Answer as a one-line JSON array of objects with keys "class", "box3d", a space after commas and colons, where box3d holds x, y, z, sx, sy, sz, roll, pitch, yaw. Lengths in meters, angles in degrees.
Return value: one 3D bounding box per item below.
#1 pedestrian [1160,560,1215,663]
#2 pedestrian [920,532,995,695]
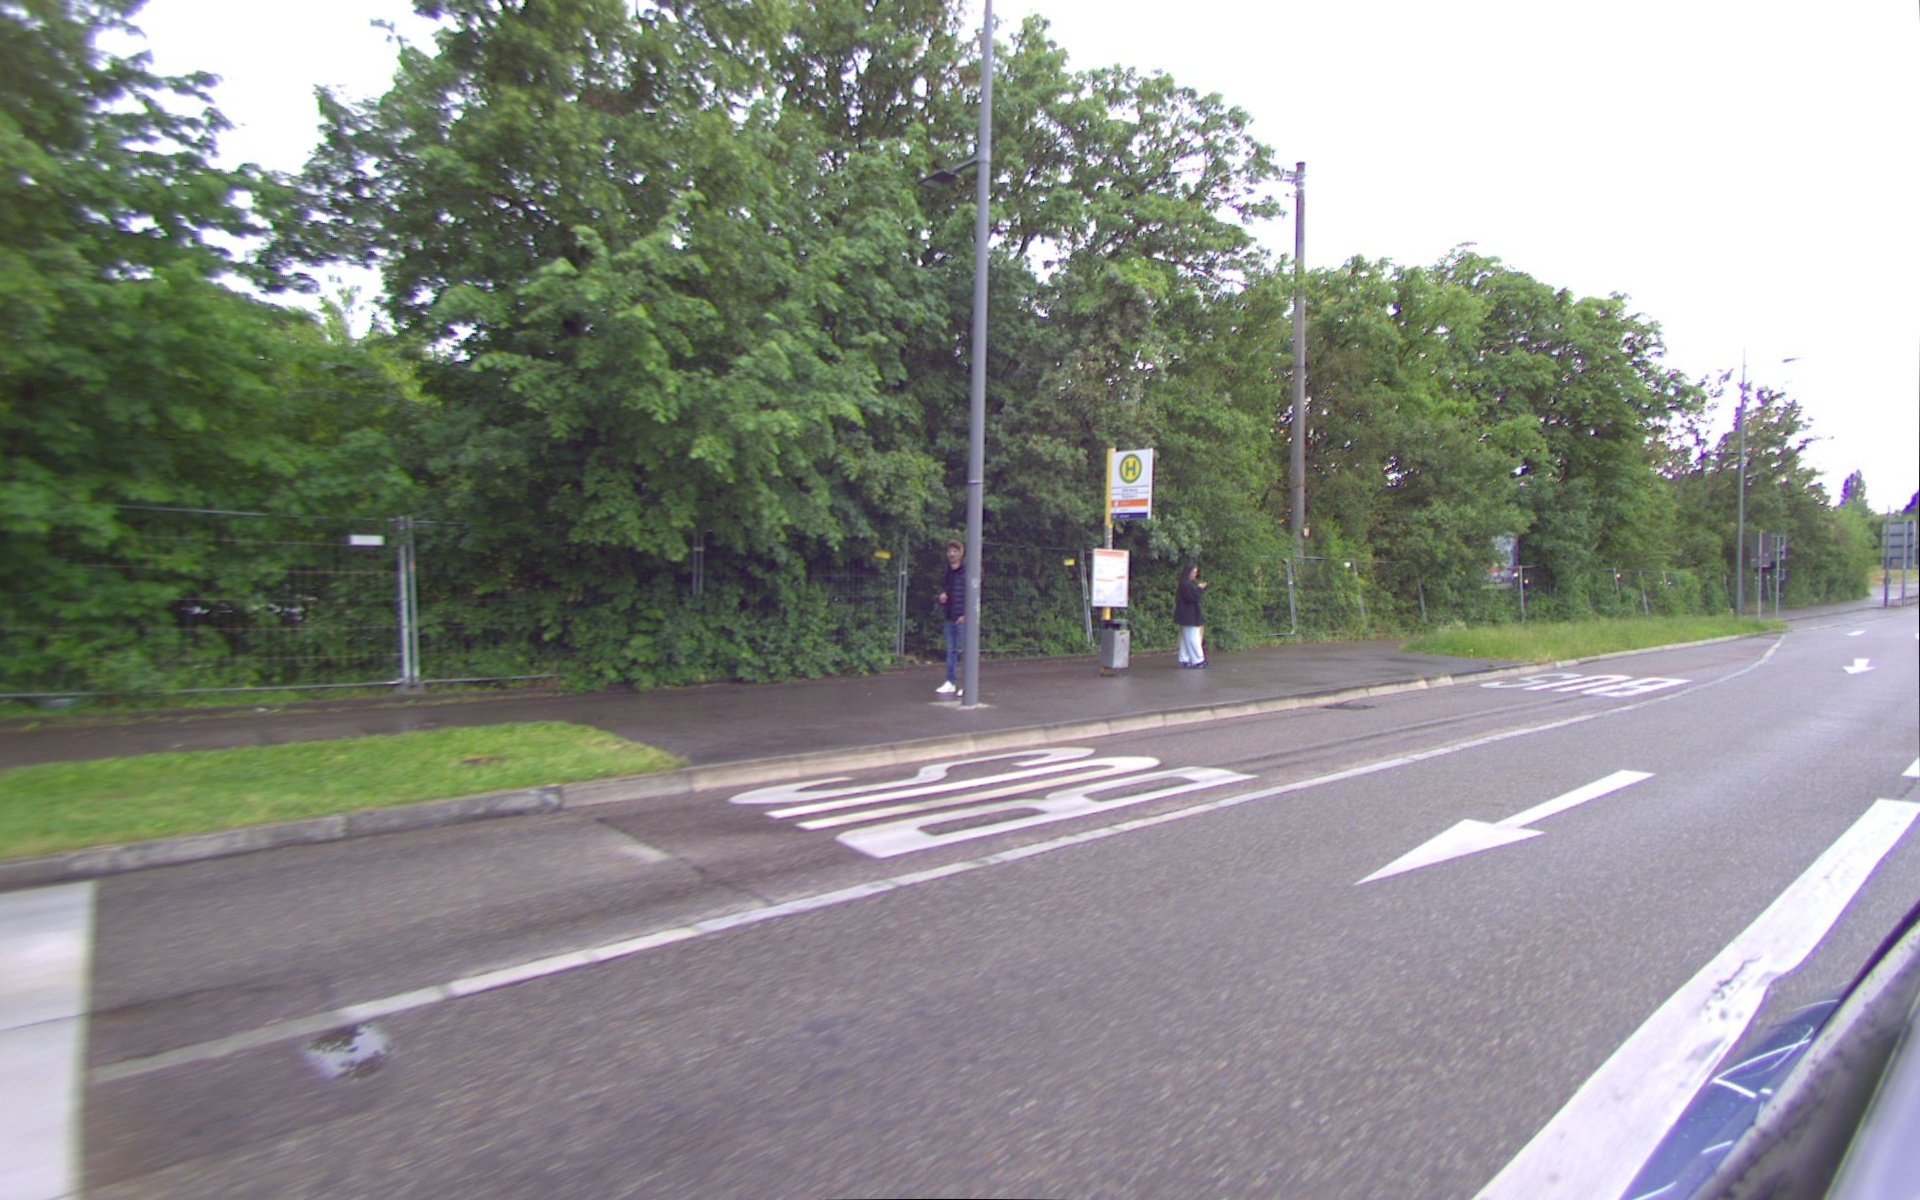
[{"class": "pedestrian", "box3d": [3.735, 0.173, 16.606, 0.650, 1.648, 0.588, 0, 1, -40]}, {"class": "pedestrian", "box3d": [-0.038, 0.151, 12.718, 0.587, 1.973, 0.742, 0, 1, -40]}]
